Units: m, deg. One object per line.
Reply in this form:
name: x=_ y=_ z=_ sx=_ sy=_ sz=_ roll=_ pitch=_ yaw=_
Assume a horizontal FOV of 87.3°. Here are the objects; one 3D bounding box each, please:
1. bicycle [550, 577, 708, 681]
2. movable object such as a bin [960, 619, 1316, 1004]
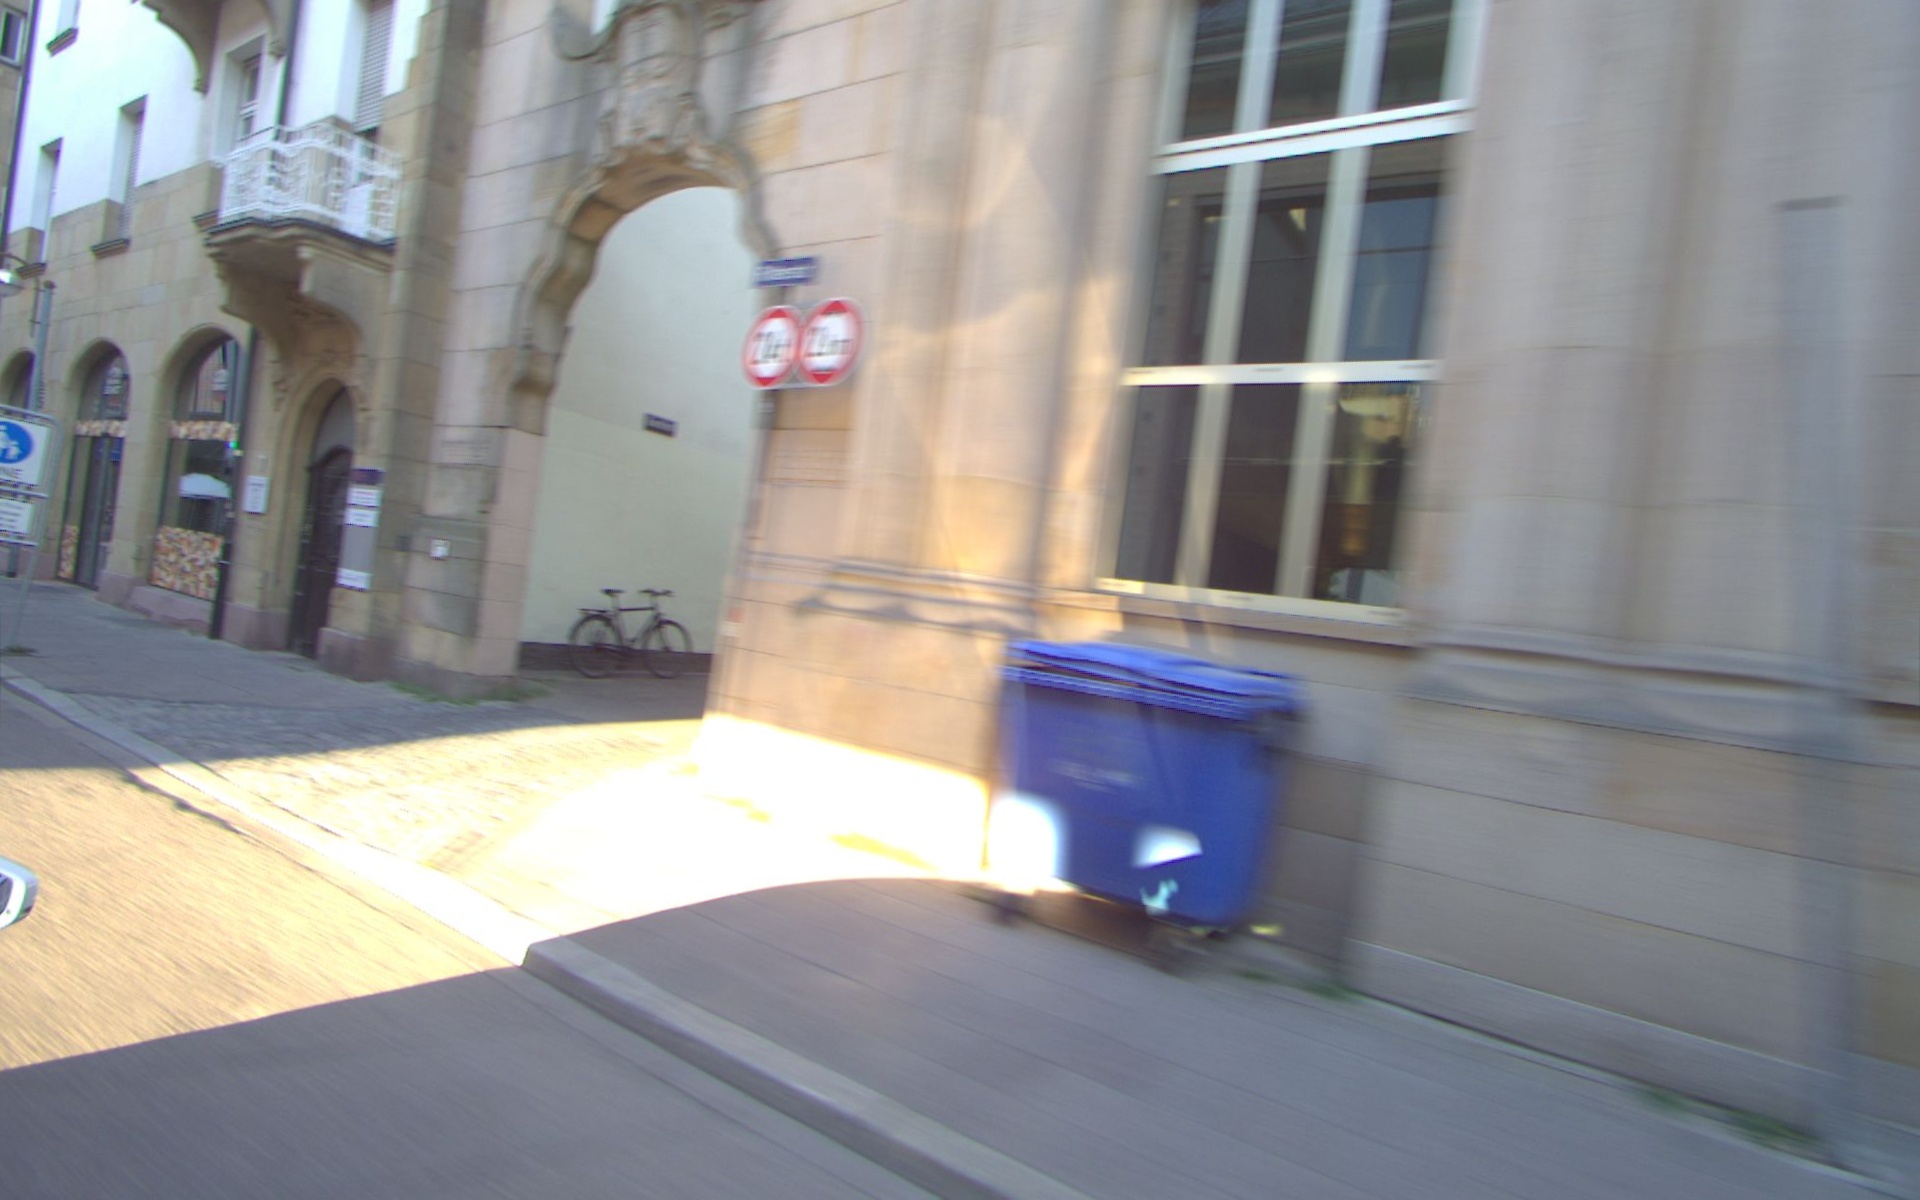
bicycle: x=-3.899 y=0.379 z=12.009 sx=0.436 sy=1.079 sz=1.814 roll=7 pitch=-1 yaw=33
movable object such as a bin: x=0.854 y=0.889 z=4.763 sx=1.220 sy=1.409 sz=0.991 roll=7 pitch=1 yaw=34
